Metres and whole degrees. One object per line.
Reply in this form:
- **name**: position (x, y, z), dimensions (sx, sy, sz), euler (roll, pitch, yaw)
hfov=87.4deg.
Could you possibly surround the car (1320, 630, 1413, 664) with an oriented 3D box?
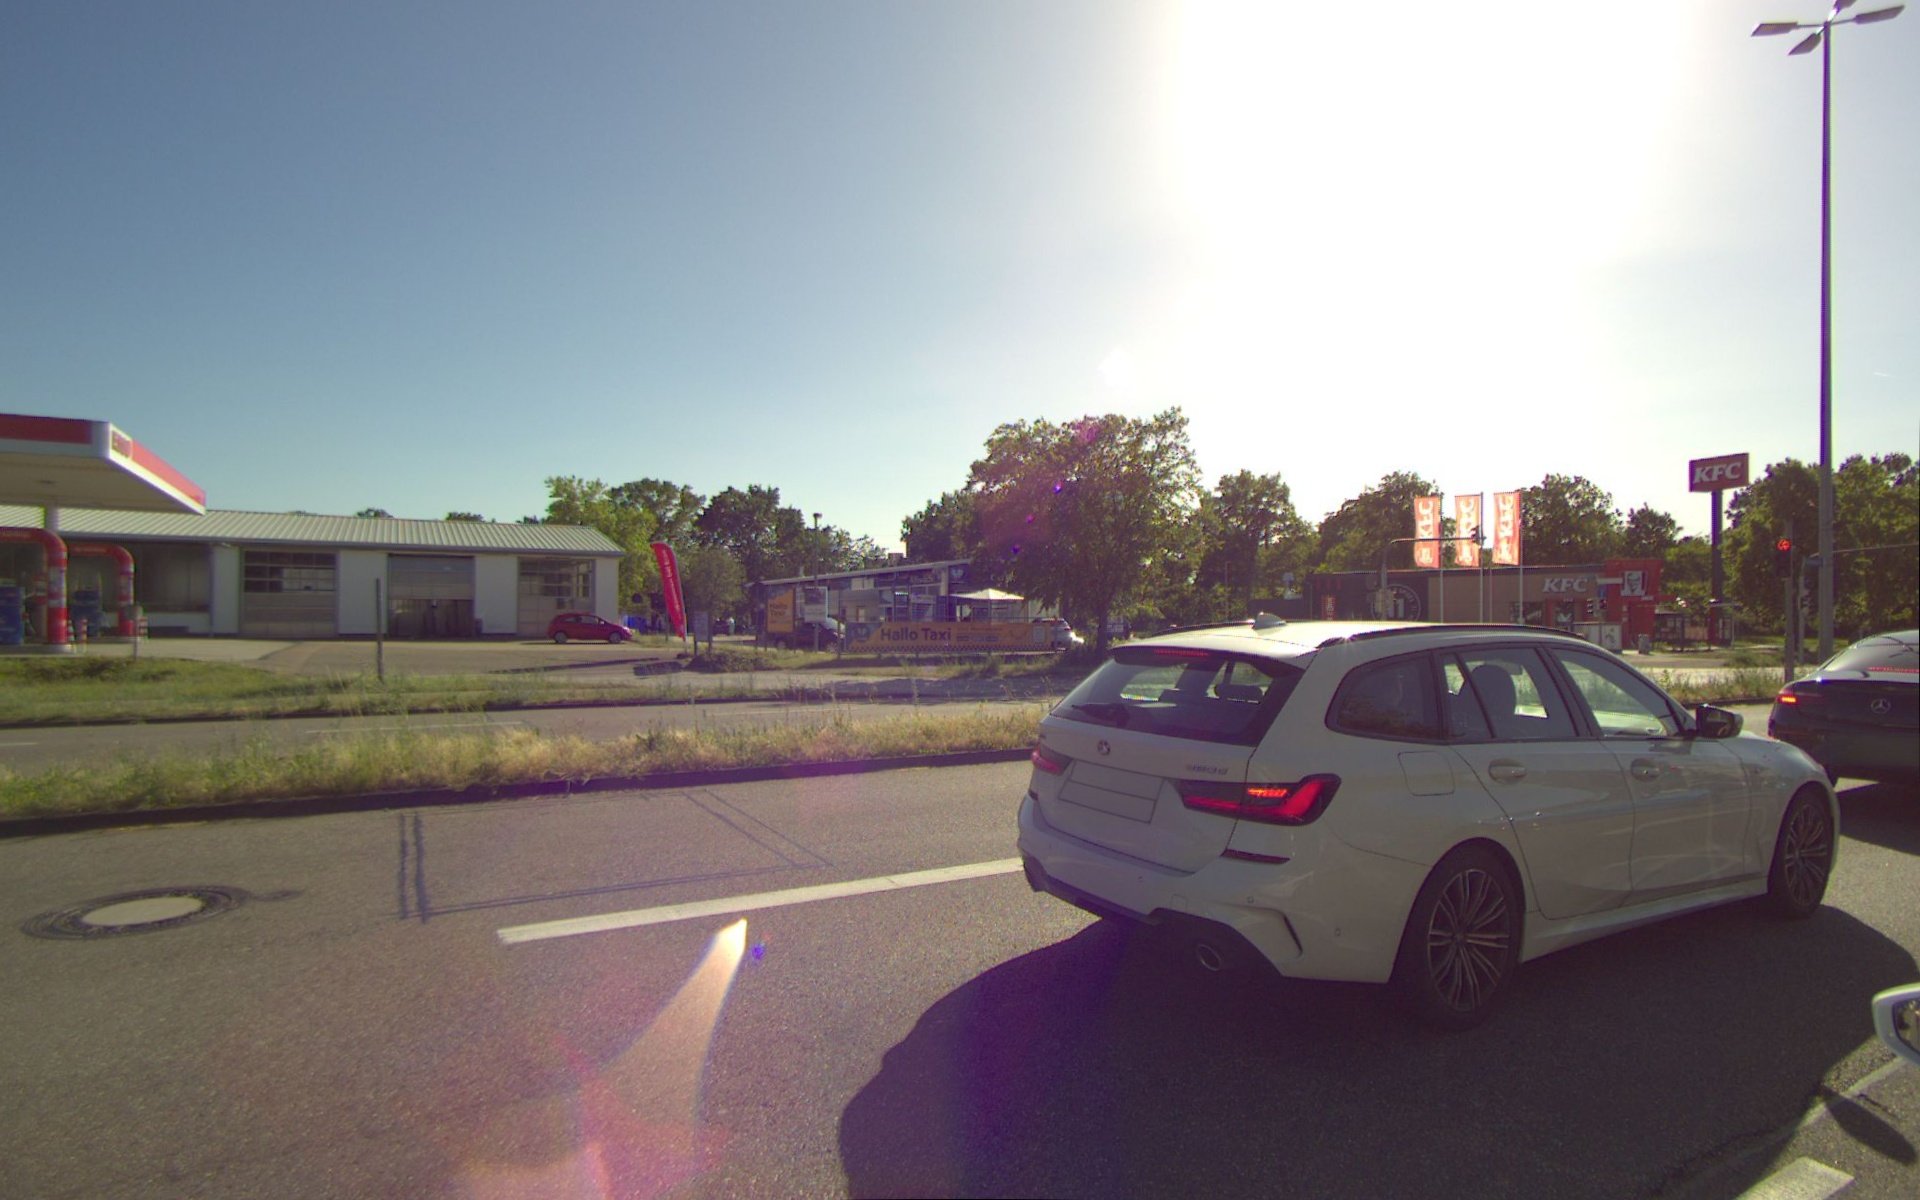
- **car**: position (20.110, 2.328, 49.877), dimensions (1.914, 1.472, 3.935), euler (2, 0, -30)

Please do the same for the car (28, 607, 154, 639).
- **car**: position (-36.353, 0.963, 42.127), dimensions (3.688, 1.203, 1.667), euler (2, 0, -30)

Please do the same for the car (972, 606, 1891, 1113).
- **car**: position (2.468, 0.818, 4.920), dimensions (4.541, 1.506, 1.804), euler (1, 0, -30)

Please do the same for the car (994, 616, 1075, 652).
- **car**: position (3.353, 1.544, 46.197), dimensions (1.974, 1.461, 3.974), euler (2, 0, -26)

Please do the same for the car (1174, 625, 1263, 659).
- **car**: position (13.950, 2.231, 54.443), dimensions (1.914, 1.600, 4.599), euler (2, 0, -31)

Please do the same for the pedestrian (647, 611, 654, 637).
- **pedestrian**: position (-18.239, 1.424, 59.197), dimensions (0.298, 1.531, 0.318), euler (1, 0, 6)

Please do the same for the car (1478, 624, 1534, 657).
- **car**: position (32.690, 2.381, 60.235), dimensions (1.896, 1.763, 4.099), euler (2, 0, 14)

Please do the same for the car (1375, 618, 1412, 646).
- **car**: position (31.512, 2.308, 73.136), dimensions (1.960, 1.837, 3.774), euler (2, 0, 16)

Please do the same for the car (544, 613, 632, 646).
- **car**: position (-18.280, 1.444, 49.335), dimensions (3.949, 1.491, 1.521), euler (2, 0, -24)

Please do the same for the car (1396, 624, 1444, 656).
- **car**: position (28.050, 2.405, 61.385), dimensions (1.896, 1.763, 4.099), euler (2, 0, 14)

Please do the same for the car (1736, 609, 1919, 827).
- **car**: position (8.793, 0.910, 8.674), dimensions (4.491, 1.572, 1.803), euler (1, 0, -31)

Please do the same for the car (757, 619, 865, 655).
- **car**: position (-5.801, 1.414, 39.059), dimensions (3.930, 1.193, 1.774), euler (2, 0, 31)

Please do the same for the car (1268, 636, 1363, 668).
- **car**: position (17.017, 2.478, 48.225), dimensions (1.850, 1.268, 4.062), euler (2, 0, -31)

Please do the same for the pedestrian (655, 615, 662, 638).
- **pedestrian**: position (-17.792, 1.548, 59.219), dimensions (0.299, 1.337, 0.311), euler (1, 0, 6)
